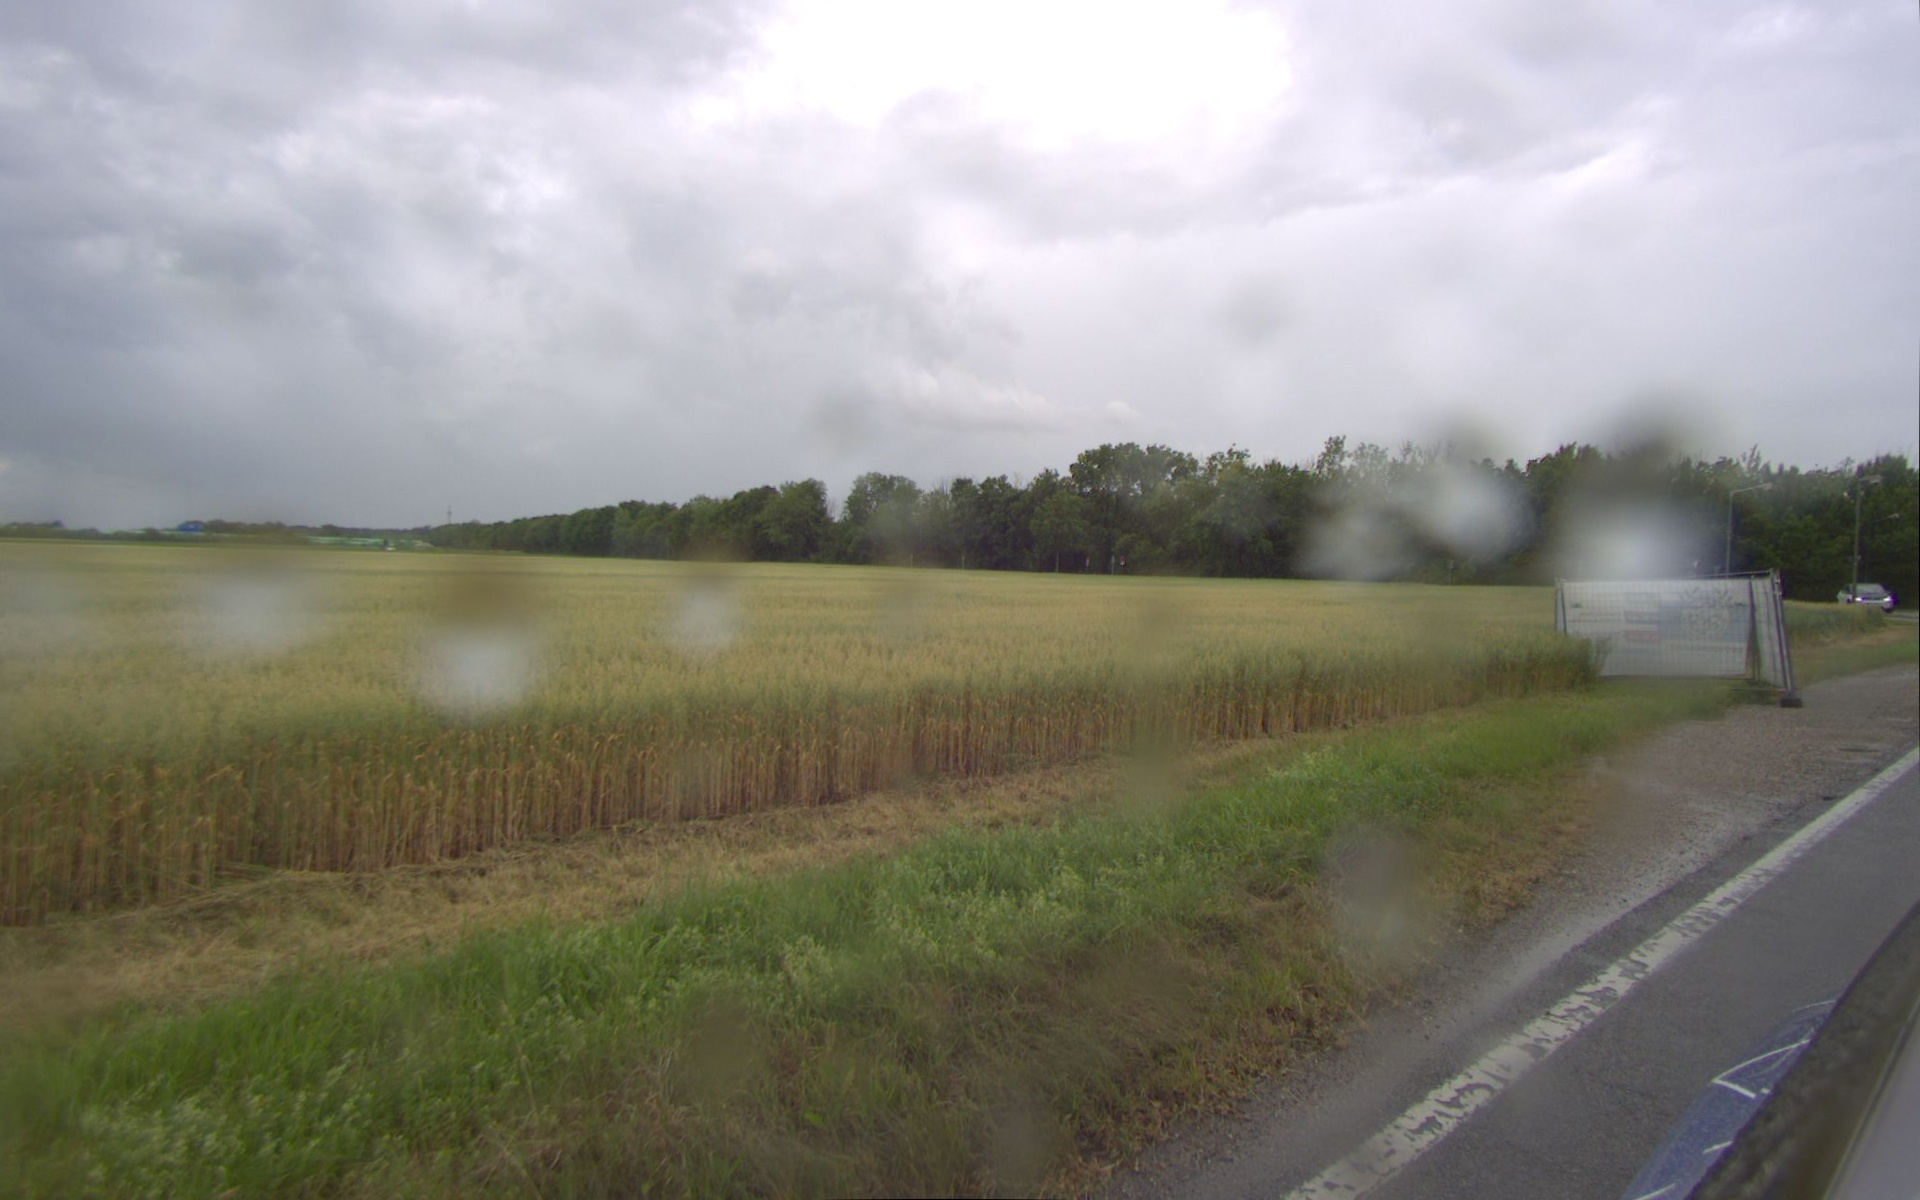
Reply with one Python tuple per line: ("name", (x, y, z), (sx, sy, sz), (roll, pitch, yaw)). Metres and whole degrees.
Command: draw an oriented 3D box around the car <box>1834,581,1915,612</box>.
("car", (49.315, -0.212, 54.691), (1.872, 1.550, 4.466), (1, 1, 24))
